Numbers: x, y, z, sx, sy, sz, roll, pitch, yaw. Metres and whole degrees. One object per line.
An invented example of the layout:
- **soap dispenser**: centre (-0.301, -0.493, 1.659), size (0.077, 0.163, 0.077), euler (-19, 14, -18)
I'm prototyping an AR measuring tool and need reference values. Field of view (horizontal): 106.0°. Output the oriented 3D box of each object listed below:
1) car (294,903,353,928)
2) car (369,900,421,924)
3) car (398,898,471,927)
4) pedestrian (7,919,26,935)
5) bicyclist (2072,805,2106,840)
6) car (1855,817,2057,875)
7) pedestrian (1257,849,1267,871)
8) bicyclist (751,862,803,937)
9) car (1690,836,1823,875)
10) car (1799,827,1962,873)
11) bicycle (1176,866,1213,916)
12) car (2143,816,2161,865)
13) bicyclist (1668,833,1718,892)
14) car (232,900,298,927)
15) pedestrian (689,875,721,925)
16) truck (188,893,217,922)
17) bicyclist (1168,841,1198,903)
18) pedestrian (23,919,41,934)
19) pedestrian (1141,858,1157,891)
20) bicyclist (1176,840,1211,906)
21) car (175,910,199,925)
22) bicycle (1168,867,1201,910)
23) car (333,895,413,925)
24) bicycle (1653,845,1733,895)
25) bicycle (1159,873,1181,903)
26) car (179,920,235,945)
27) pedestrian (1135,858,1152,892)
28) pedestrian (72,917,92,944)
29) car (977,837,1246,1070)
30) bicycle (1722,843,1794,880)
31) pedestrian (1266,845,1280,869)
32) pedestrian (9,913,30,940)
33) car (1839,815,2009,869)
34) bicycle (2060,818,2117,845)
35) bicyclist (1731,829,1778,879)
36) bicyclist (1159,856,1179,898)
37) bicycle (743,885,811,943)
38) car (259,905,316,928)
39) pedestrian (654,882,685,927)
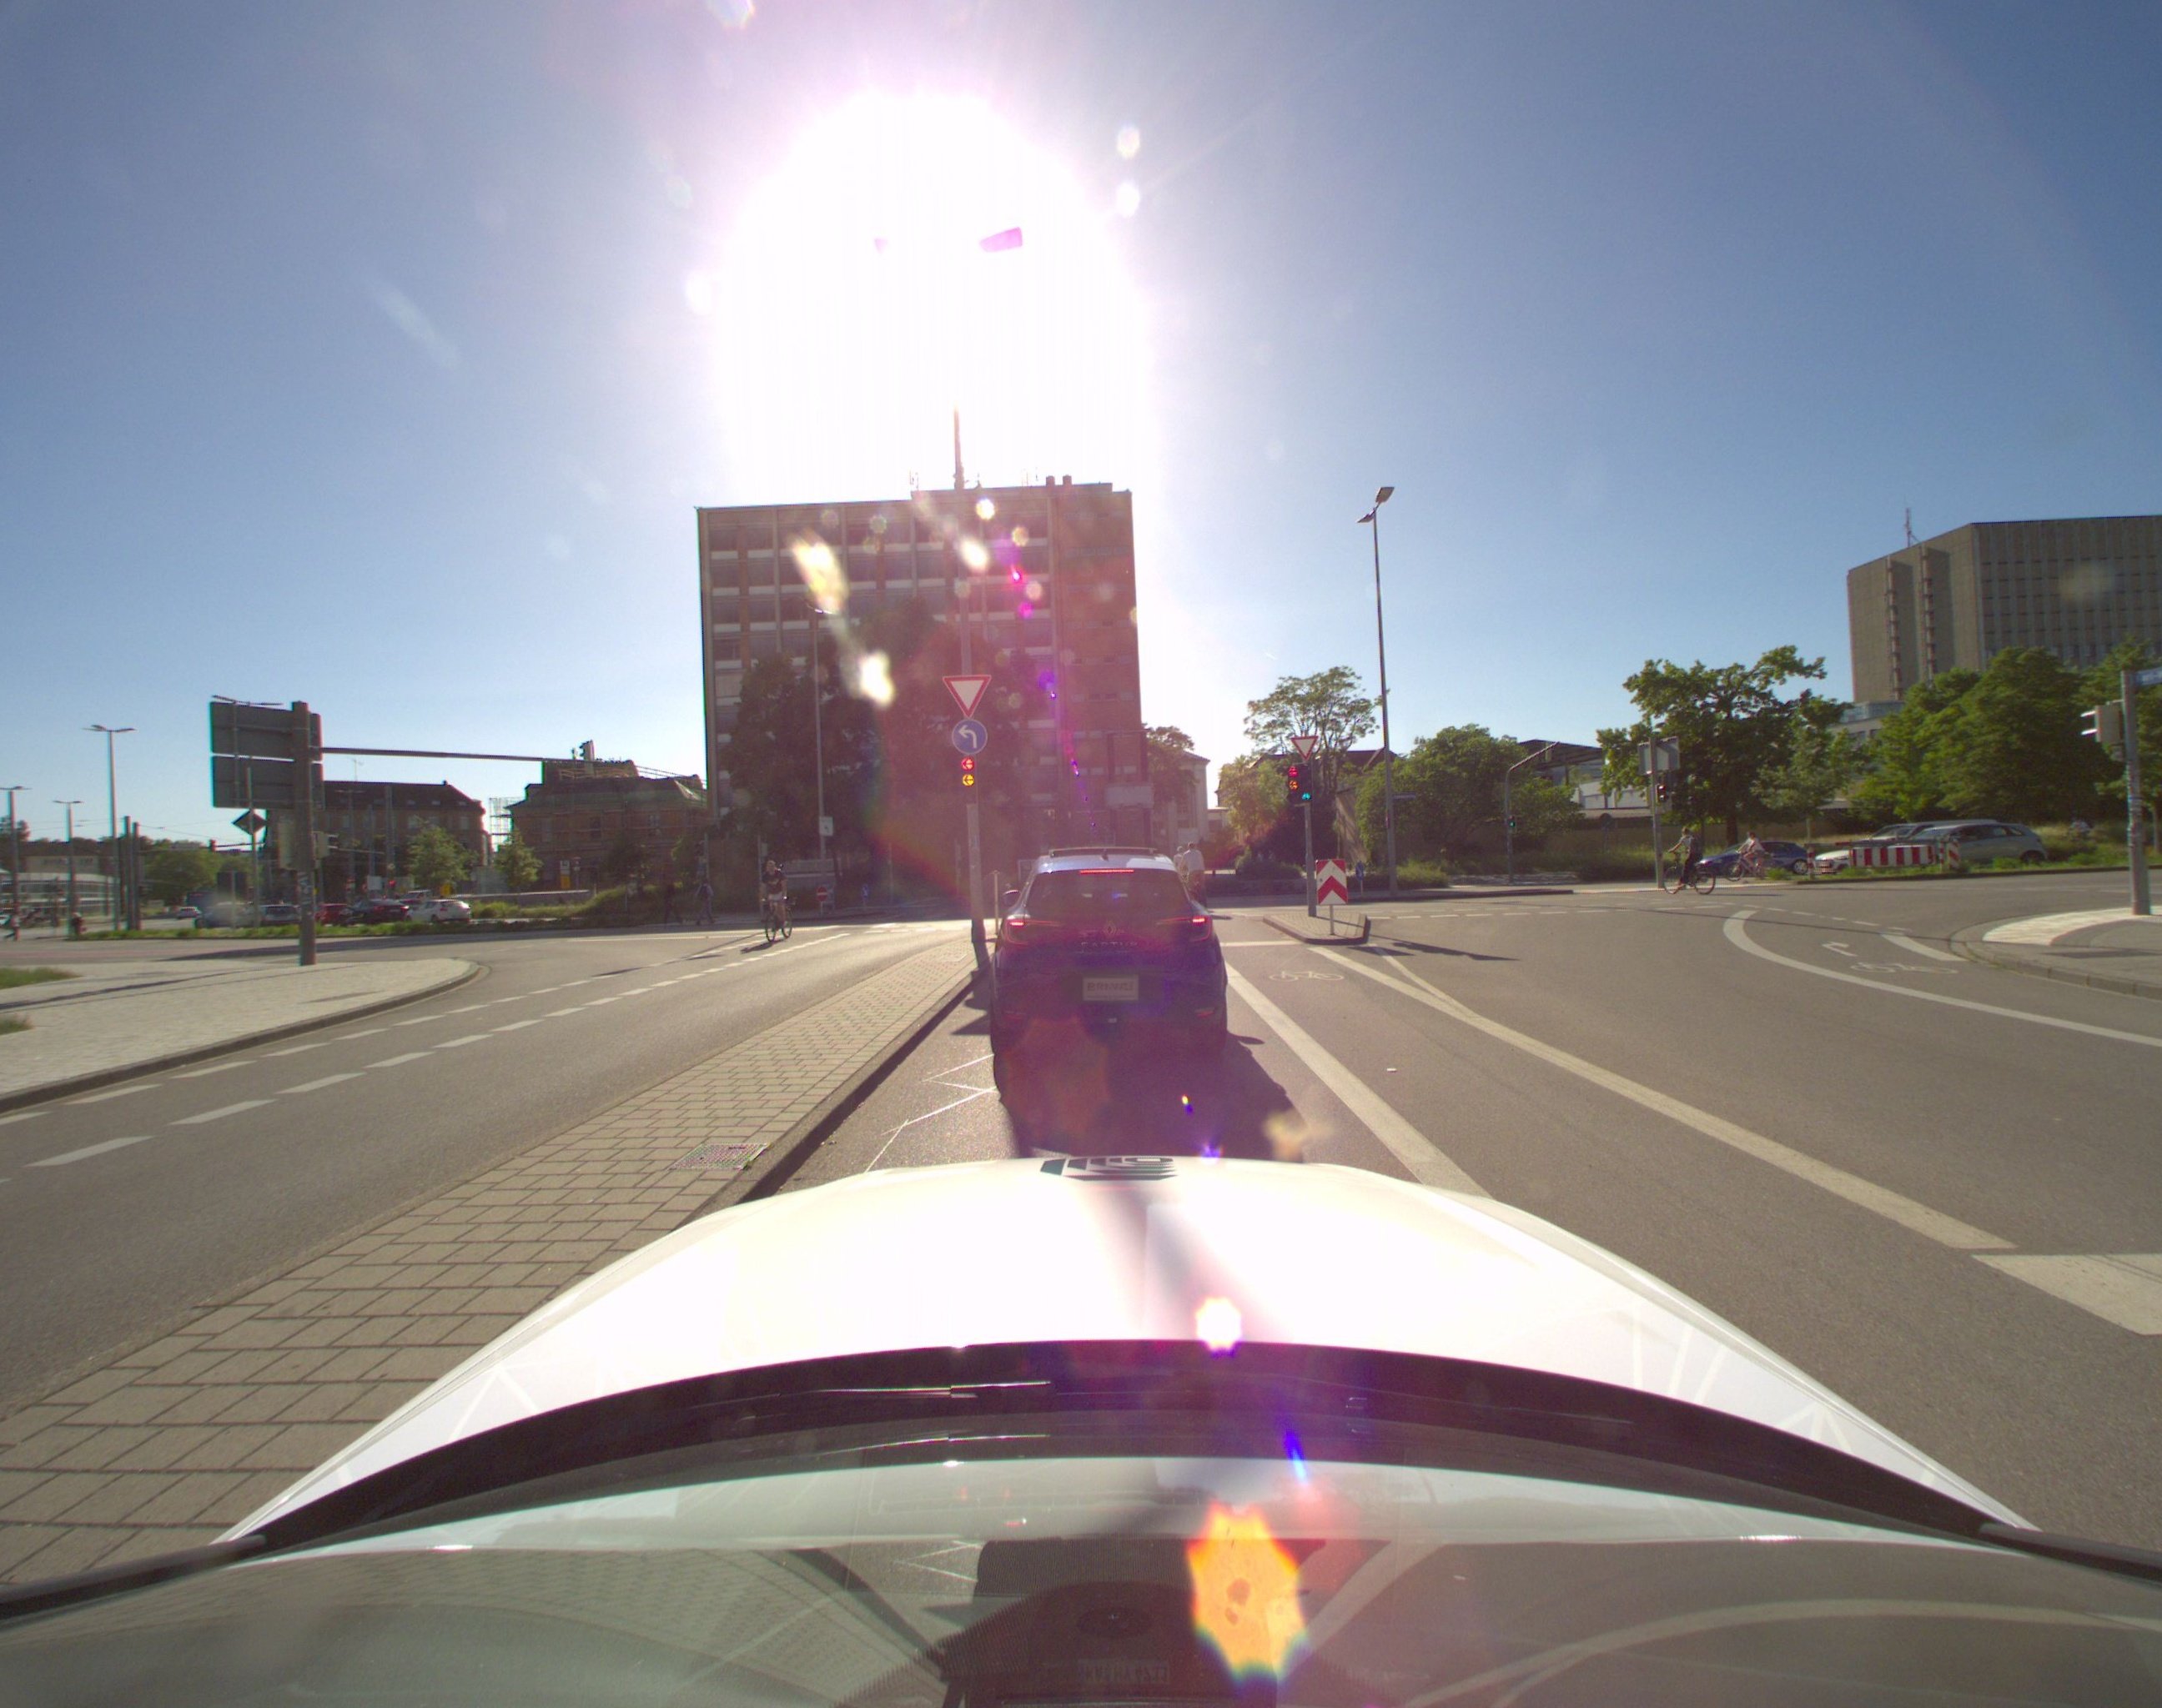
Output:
- **car**: centre (-48.029, 3.898, 51.655), size (3.674, 1.443, 1.687), euler (-3, -3, 29)
- **car**: centre (-50.402, 4.288, 59.832), size (3.578, 1.618, 1.894), euler (-4, -3, 31)
- **car**: centre (-36.422, 3.293, 45.880), size (3.691, 1.436, 1.706), euler (-3, -1, 24)
- **pedestrian**: centre (-101.781, 6.988, 77.888), size (0.689, 1.408, 0.865), euler (0, -1, 0)
- **bicyclist**: centre (48.427, -1.510, 39.141), size (0.827, 1.595, 0.632), euler (-4, 2, 1)
- **car**: centre (28.021, -0.207, 26.205), size (4.281, 1.625, 1.792), euler (-2, -2, 5)
- **pedestrian**: centre (13.436, 0.456, 60.401), size (0.670, 1.643, 0.739), euler (-1, -1, 17)
- **bicyclist**: centre (-6.952, 1.014, 18.665), size (0.717, 1.621, 0.978), euler (-4, -1, 1)
- **car**: centre (28.159, 0.077, 34.067), size (3.967, 1.442, 1.707), euler (-2, -2, 5)
- **car**: centre (30.305, -0.128, 31.007), size (3.962, 1.469, 2.005), euler (-3, -1, 10)
- **bicycle**: centre (2.902, 0.921, 20.937), size (0.713, 1.165, 1.871), euler (-2, 0, 2)
- **car**: centre (36.864, -0.553, 25.318), size (4.685, 1.554, 1.986), euler (-2, -2, 5)
- **bicyclist**: centre (15.639, 0.200, 20.820), size (0.639, 1.444, 0.777), euler (-3, 1, 1)
- **car**: centre (-48.897, 3.589, 48.808), size (3.750, 1.442, 1.741), euler (-3, -1, 28)
- **pedestrian**: centre (-14.145, 1.714, 30.662), size (0.753, 1.833, 1.093), euler (-2, -2, -6)
- **truck**: centre (-122.334, 7.389, 113.440), size (5.159, 3.675, 2.618), euler (-1, -1, 42)
- **bicyclist**: centre (3.016, 0.511, 24.054), size (0.717, 1.763, 0.978), euler (-2, -1, 1)
- **pedestrian**: centre (-101.751, 6.996, 78.993), size (0.689, 1.408, 0.865), euler (0, -1, 0)
- **pedestrian**: centre (3.727, 1.122, 44.656), size (0.727, 1.782, 0.735), euler (-1, -1, 19)
- **bicyclist**: centre (2.887, 0.483, 20.975), size (0.717, 1.617, 0.978), euler (-2, -1, 1)
- **car**: centre (-102.944, 7.296, 93.804), size (3.594, 1.544, 1.797), euler (-1, -1, 44)
- **bicycle**: centre (3.037, 0.985, 24.022), size (0.743, 1.165, 1.871), euler (-2, 0, 2)
- **car**: centre (-42.649, 3.370, 49.059), size (4.324, 1.624, 2.002), euler (-3, -1, 24)
- **bicycle**: centre (15.647, 0.377, 20.883), size (0.639, 1.165, 1.871), euler (-3, 1, 1)
- **bicycle**: centre (3.793, 1.432, 34.870), size (0.743, 1.165, 1.871), euler (-2, 0, 2)
- **car**: centre (-55.150, 4.916, 51.362), size (3.859, 1.443, 1.741), euler (-3, -3, 33)
- **pedestrian**: centre (3.363, 1.113, 43.732), size (0.727, 1.816, 0.735), euler (-1, -1, 19)
- **pedestrian**: centre (-62.997, 4.832, 51.367), size (0.565, 1.611, 0.573), euler (0, -1, 1)
- **car**: centre (0.270, 0.702, 7.577), size (1.870, 1.617, 3.799), euler (0, 0, 2)
- **bicycle**: centre (24.125, 0.266, 29.042), size (1.856, 1.165, 0.749), euler (-4, -1, 3)
- **pedestrian**: centre (13.344, 0.210, 56.713), size (0.669, 1.643, 0.740), euler (-1, -1, 39)
- **pedestrian**: centre (-65.970, 4.525, 50.603), size (0.668, 1.611, 0.659), euler (-1, -1, 27)
- **car**: centre (34.823, -0.449, 33.764), size (4.718, 1.953, 1.942), euler (-2, -2, 5)
- **bicycle**: centre (48.432, -1.078, 39.158), size (1.944, 1.165, 0.643), euler (-4, 2, 0)
- **bicyclist**: centre (24.012, 0.009, 29.049), size (0.970, 1.685, 0.747), euler (-4, -1, 3)
- **bicyclist**: centre (3.780, 0.978, 34.953), size (0.717, 1.735, 0.978), euler (-2, -1, 1)
- **bicycle**: centre (-6.934, 1.349, 18.694), size (0.743, 1.165, 1.871), euler (-4, -1, 2)
- **car**: centre (-53.606, 4.229, 55.015), size (3.750, 1.443, 1.741), euler (-3, -3, 29)
- **pedestrian**: centre (-15.395, 1.875, 30.489), size (0.711, 1.612, 0.685), euler (-3, -1, 20)
